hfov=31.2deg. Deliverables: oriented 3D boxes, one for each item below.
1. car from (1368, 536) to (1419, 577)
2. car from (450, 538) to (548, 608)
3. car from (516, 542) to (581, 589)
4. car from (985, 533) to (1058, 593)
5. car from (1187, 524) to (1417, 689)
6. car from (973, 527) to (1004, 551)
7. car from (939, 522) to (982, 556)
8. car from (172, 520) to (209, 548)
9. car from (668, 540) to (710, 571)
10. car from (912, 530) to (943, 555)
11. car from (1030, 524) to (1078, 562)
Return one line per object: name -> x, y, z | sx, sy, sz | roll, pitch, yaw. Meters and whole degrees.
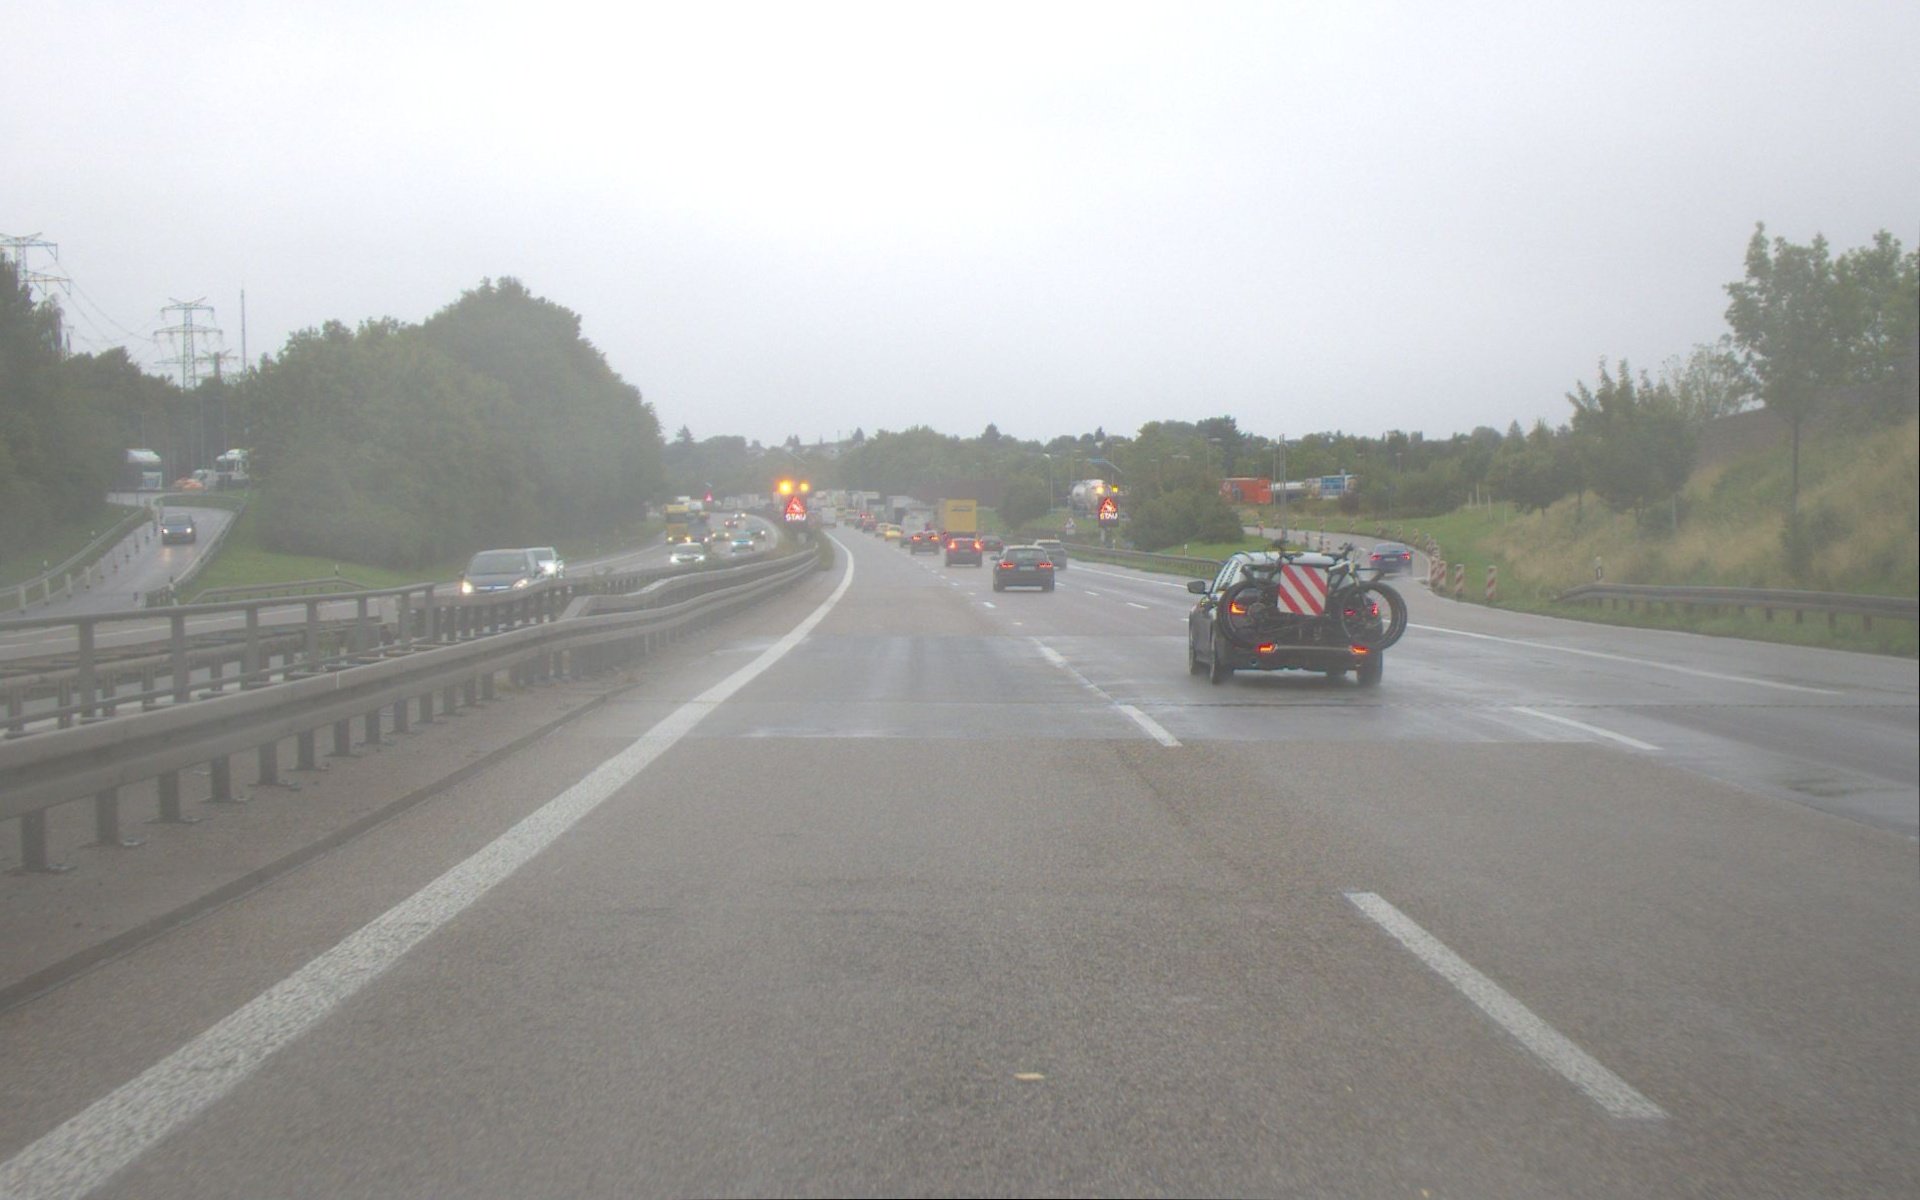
car -> 18.660, -1.879, 148.161 | 1.922, 1.703, 4.000 | -1, 1, 4
car -> -10.963, -0.662, 81.953 | 1.828, 1.588, 3.816 | -1, 1, -1
car -> -15.532, -1.321, 129.917 | 1.904, 1.659, 4.714 | -2, 1, -1
car -> 1.886, -1.160, 106.818 | 1.993, 1.755, 4.001 | -1, 2, -2
car -> 3.672, 0.037, 37.824 | 2.058, 1.665, 5.522 | 0, 1, 1
car -> 2.041, -4.331, 244.684 | 1.993, 1.623, 4.001 | -1, 2, -2
car -> 0.016, -3.116, 175.551 | 1.993, 1.623, 4.001 | -1, 2, -2
car -> -43.834, -3.760, 195.761 | 1.967, 1.537, 4.001 | -1, 1, -13
car -> -13.723, -2.273, 174.152 | 1.757, 1.456, 4.762 | -3, 1, -1
car -> -2.228, -3.952, 235.859 | 1.993, 1.623, 4.001 | -1, 2, -2
car -> 4.532, -2.762, 166.619 | 1.993, 1.755, 4.001 | 2, 1, -2
